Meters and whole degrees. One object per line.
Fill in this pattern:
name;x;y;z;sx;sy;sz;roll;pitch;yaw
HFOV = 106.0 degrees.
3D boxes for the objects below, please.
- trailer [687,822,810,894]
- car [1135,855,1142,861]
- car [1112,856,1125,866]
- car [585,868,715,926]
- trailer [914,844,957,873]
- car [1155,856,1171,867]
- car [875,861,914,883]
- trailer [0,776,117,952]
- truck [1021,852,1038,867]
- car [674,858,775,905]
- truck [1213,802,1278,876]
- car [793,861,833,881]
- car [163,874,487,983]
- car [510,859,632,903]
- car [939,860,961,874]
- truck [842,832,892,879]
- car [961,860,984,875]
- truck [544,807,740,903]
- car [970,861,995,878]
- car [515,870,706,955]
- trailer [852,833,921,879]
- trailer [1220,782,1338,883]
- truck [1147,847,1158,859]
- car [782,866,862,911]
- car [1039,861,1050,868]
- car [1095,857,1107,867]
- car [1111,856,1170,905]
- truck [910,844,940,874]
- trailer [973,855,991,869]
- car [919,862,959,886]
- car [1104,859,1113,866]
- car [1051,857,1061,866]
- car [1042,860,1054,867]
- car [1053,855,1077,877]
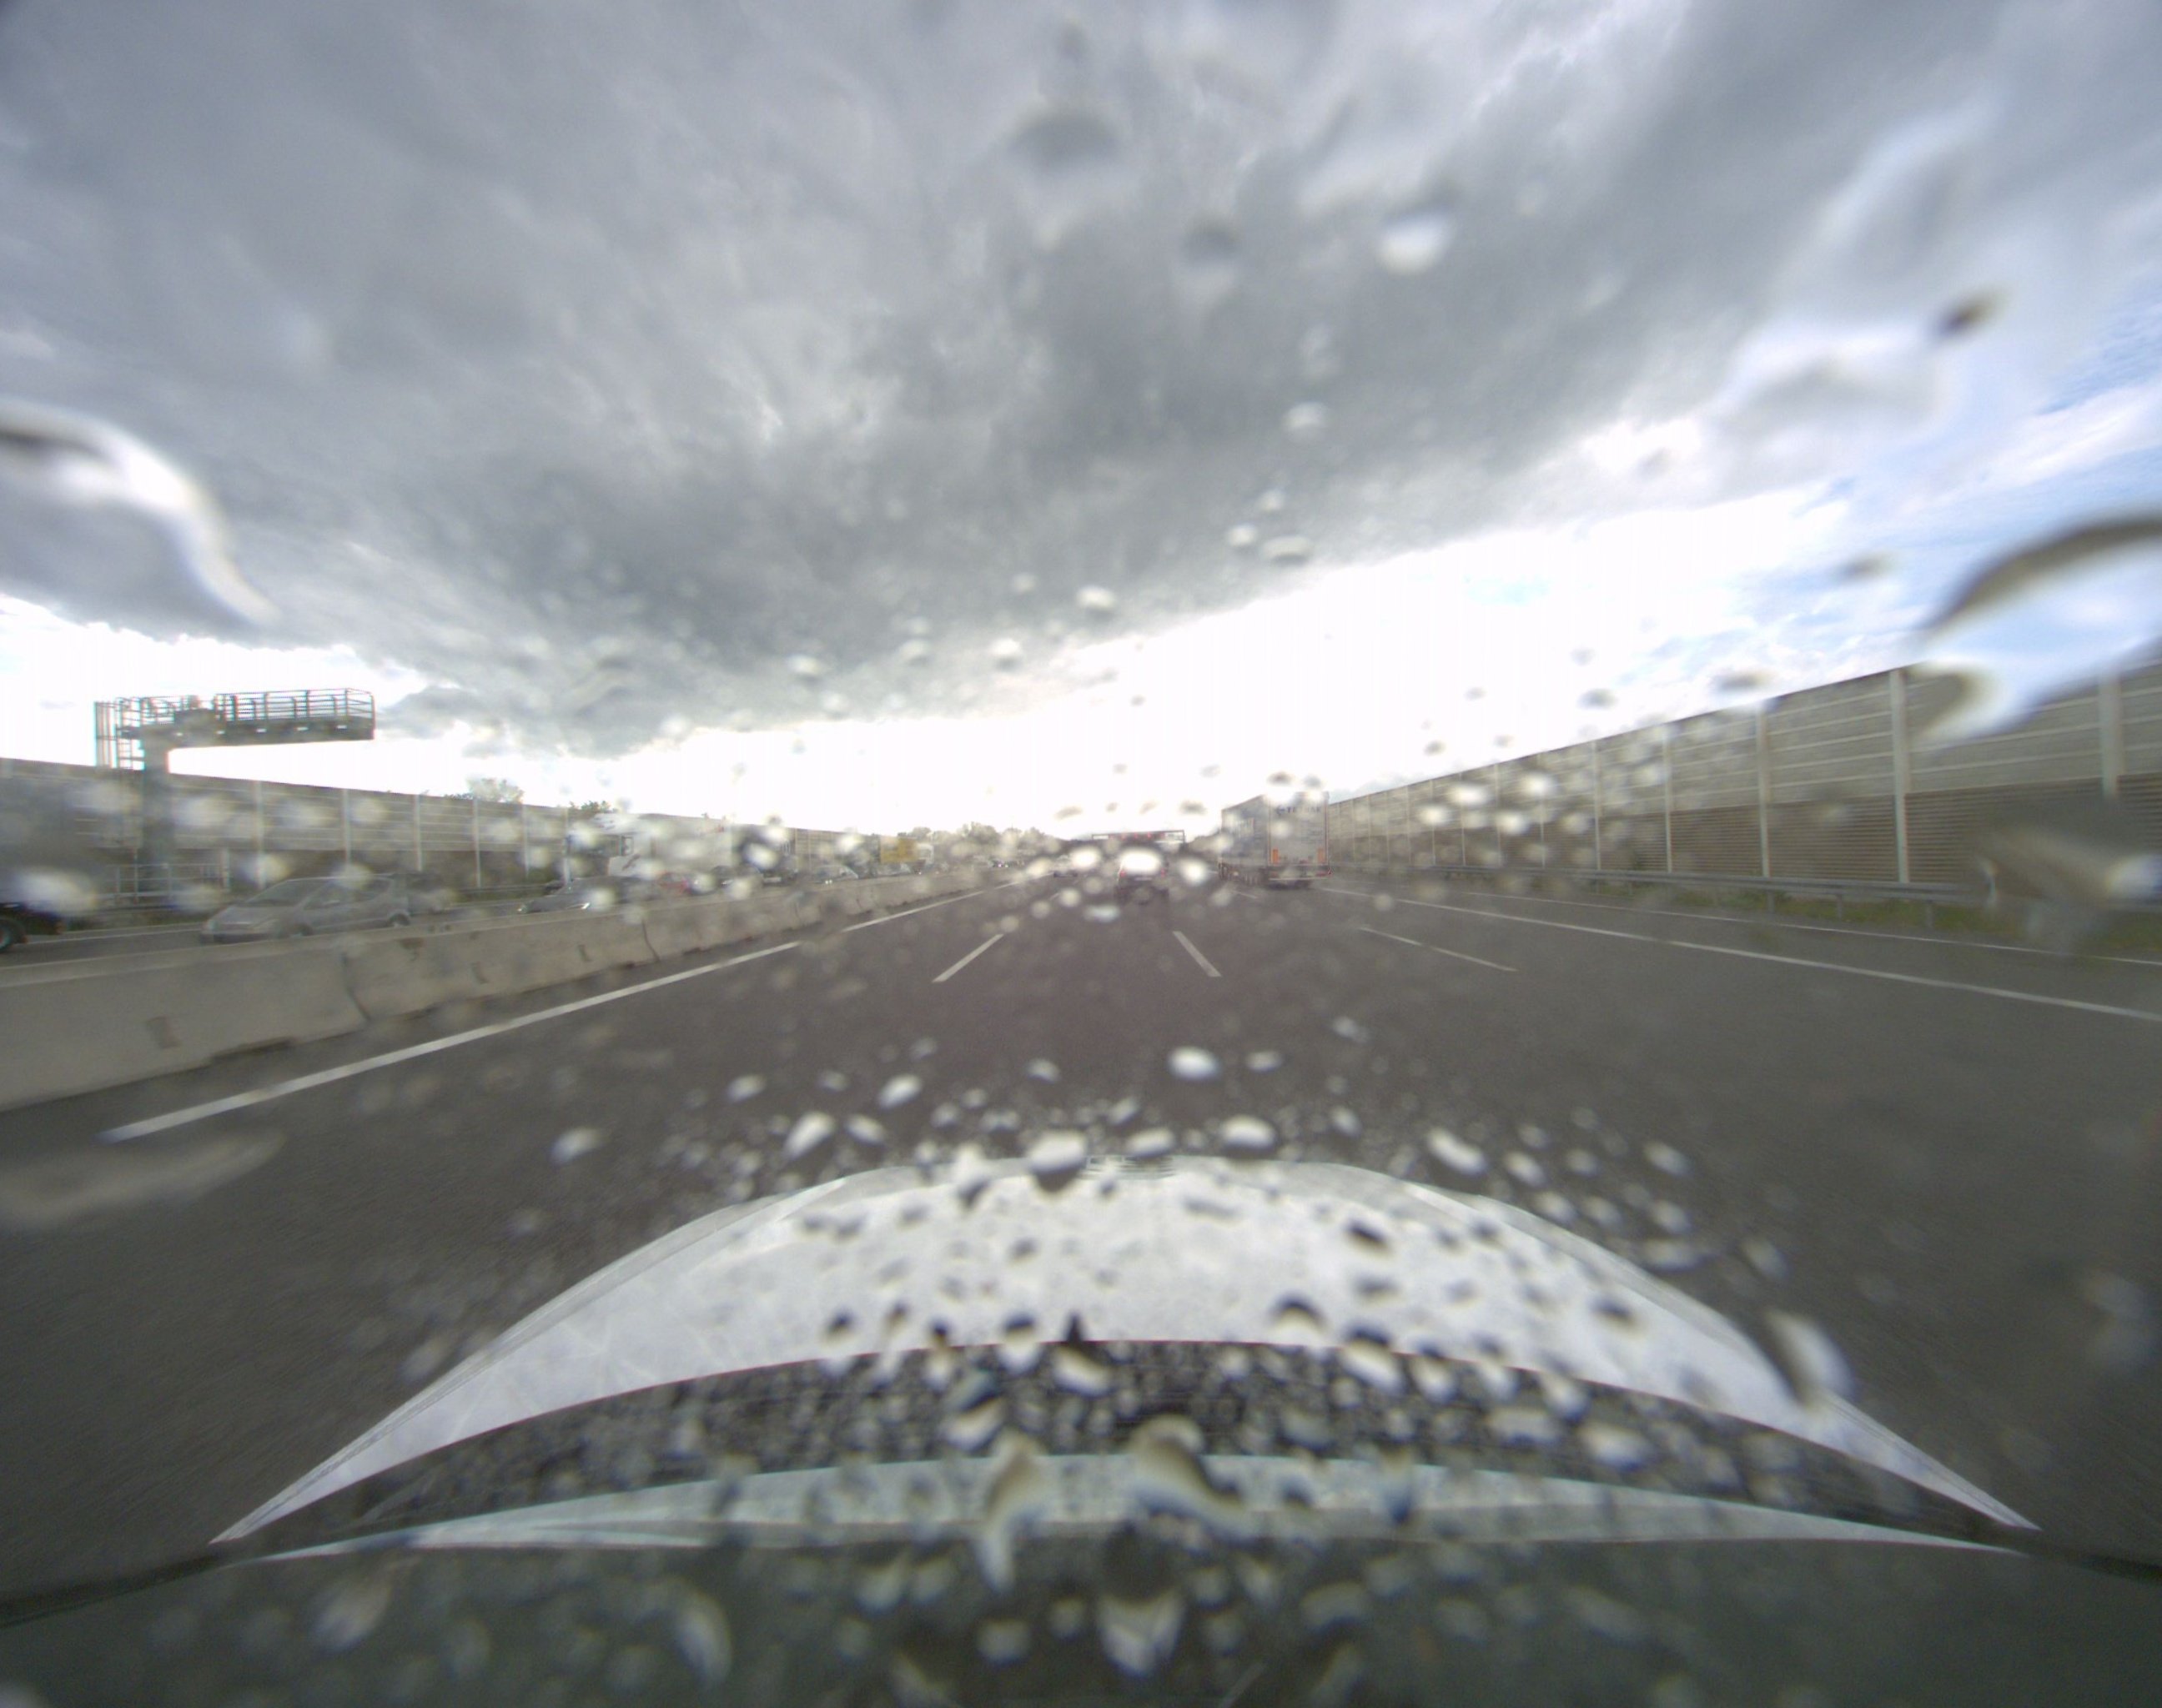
trailer;-20.089;0.212;50.126;2.919;3.939;10.127;-1;0;3
car;15.798;1.140;223.103;1.958;1.560;4.441;0;1;6
car;6.733;1.264;145.935;1.958;1.561;4.439;-2;-1;5
car;-17.294;1.652;33.117;2.053;2.002;5.809;-1;0;1
trailer;-21.180;0.671;119.779;2.749;4.032;14.465;-1;0;3
car;11.830;1.120;117.810;1.942;1.418;4.233;-2;-1;2
car;-15.447;1.455;67.704;2.053;1.699;4.412;-1;0;1
trailer;-25.166;0.246;15.338;2.711;3.872;9.288;-1;0;2
truck;-12.327;1.334;194.651;2.684;3.527;10.007;0;0;4
car;-16.740;1.216;38.670;2.053;2.002;5.809;-1;0;1
truck;9.500;-0.797;47.483;2.734;4.035;5.728;-1;-1;2
car;-24.065;1.502;73.223;2.053;1.723;4.212;-1;0;1
car;-17.334;1.579;19.280;2.053;2.002;5.811;-1;0;2
car;-24.454;1.245;39.390;2.053;1.892;5.809;-1;0;1
car;-17.754;1.752;110.409;2.053;1.816;4.780;-1;0;1
truck;-19.100;0.147;73.069;2.734;4.035;5.728;-1;-1;2
car;-13.813;1.674;103.749;2.053;1.816;4.780;-1;0;1
truck;-20.655;0.042;39.533;2.925;3.945;11.074;-1;0;3
car;-10.596;1.623;87.665;2.053;1.699;4.412;-1;0;1
car;-13.430;1.561;23.840;2.053;2.002;5.809;-1;0;1
trailer;-18.847;0.206;80.160;2.750;4.032;14.459;-1;0;2
trailer;9.215;-0.823;40.109;2.750;4.032;14.459;-1;0;2
truck;22.295;-0.258;253.655;3.137;3.602;12.717;0;0;5
car;-13.022;1.659;41.403;2.053;2.002;5.809;-1;0;1
car;-8.711;2.560;194.966;2.051;1.599;5.001;-2;-1;3
car;3.627;1.460;147.026;1.958;1.561;4.439;-2;-1;5
car;1.878;0.810;26.802;1.711;1.417;4.279;-1;0;1
truck;-21.589;0.652;113.034;2.733;4.035;5.730;-1;-1;3
trailer;-18.910;1.453;155.824;2.449;2.495;6.091;-1;0;3
car;-11.475;1.597;66.198;2.053;1.755;5.809;-1;0;1
car;6.992;2.085;206.036;1.958;1.561;4.439;-2;-1;5
car;-5.387;1.645;177.882;1.866;1.699;4.224;-1;0;2
car;-7.832;2.262;194.815;2.050;1.491;5.004;-2;-1;5
car;-1.196;0.925;63.929;1.711;1.624;4.278;-1;0;0
